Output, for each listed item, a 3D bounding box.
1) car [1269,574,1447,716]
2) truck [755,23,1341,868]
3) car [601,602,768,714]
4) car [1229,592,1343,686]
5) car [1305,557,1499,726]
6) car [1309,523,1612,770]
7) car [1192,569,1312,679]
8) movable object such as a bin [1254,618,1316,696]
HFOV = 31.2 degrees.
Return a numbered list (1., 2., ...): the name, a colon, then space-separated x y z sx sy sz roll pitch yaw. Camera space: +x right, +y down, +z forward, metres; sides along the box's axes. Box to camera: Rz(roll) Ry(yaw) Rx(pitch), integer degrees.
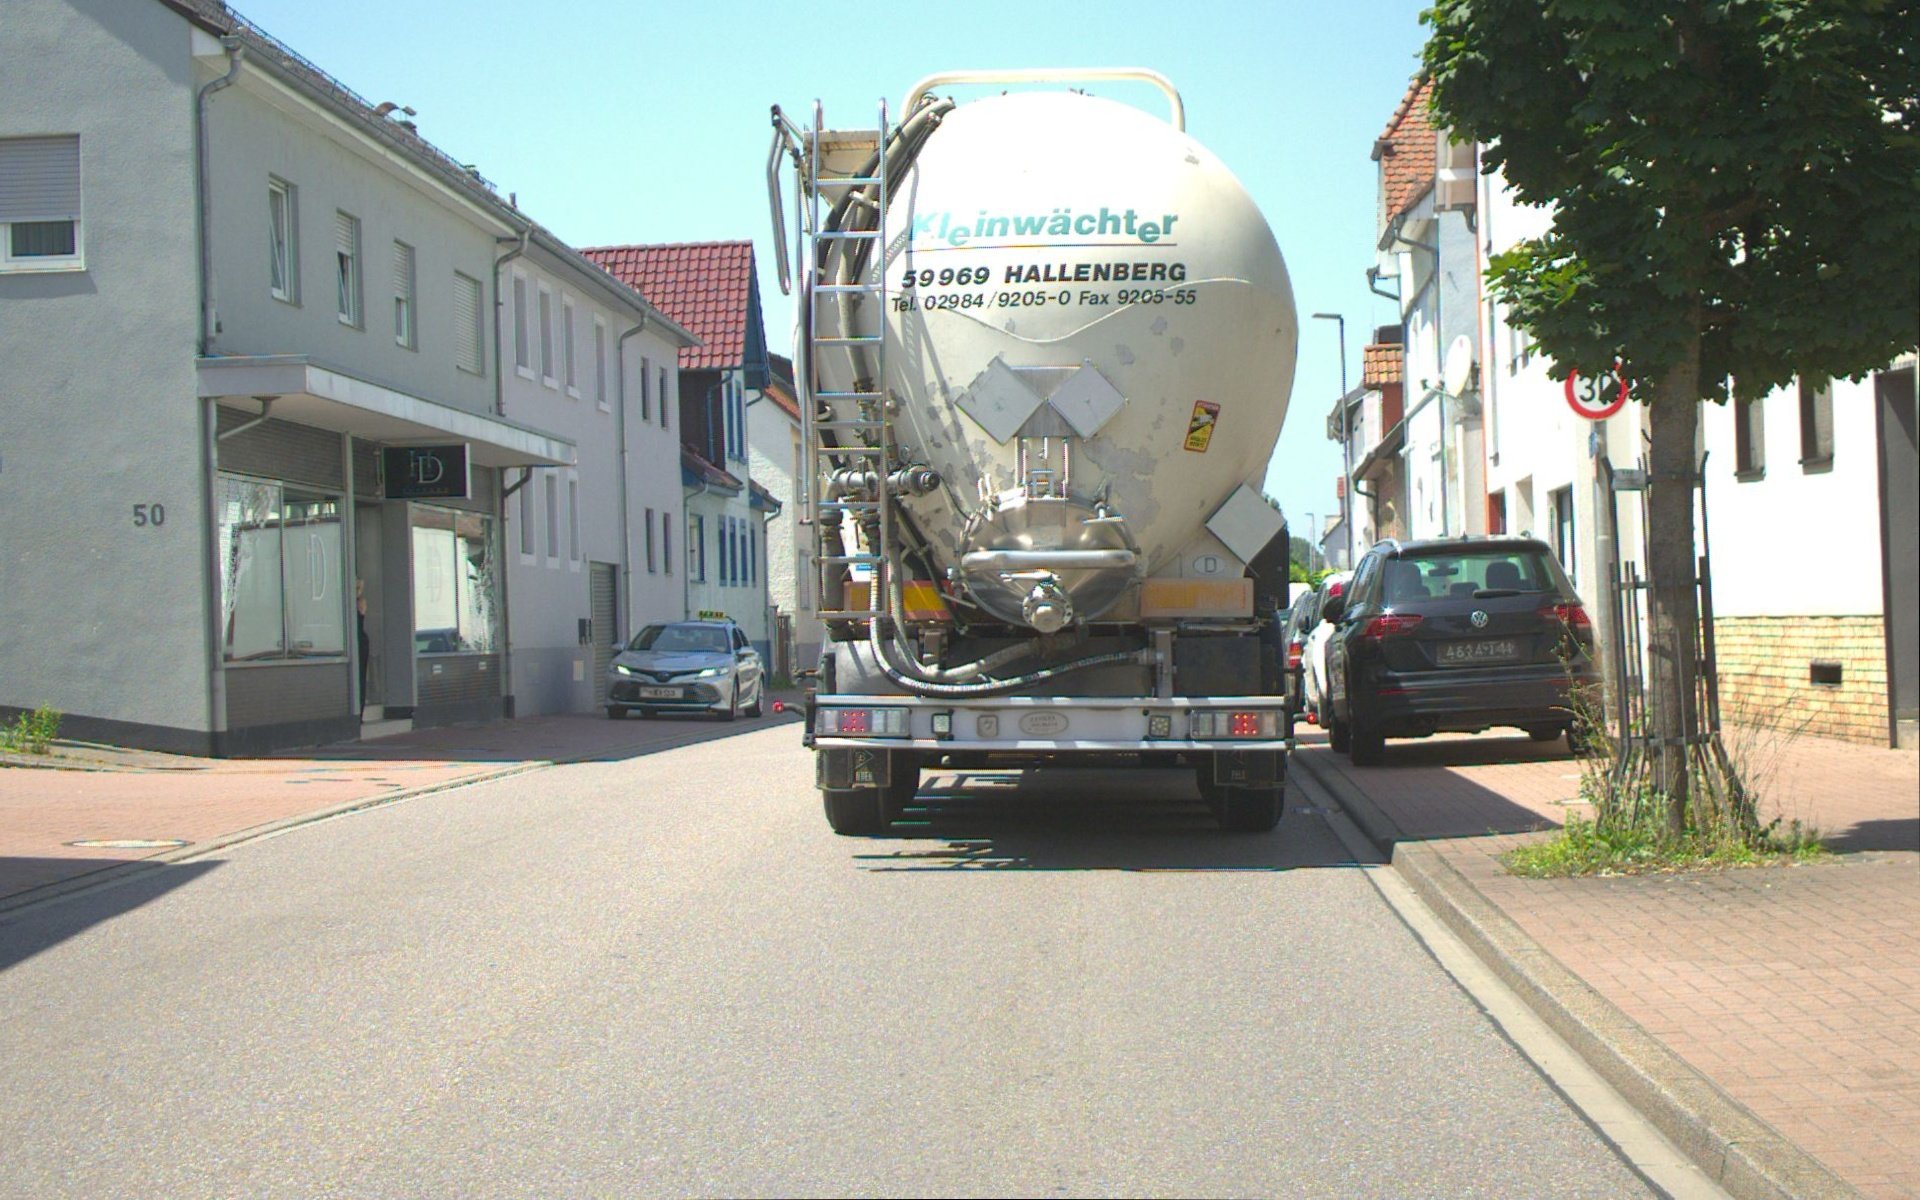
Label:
1. car: 4.598 0.520 40.287 1.700 1.442 4.835 -4 -1 3
2. truck: 0.593 -0.714 20.185 2.733 3.947 8.141 0 0 3
3. car: -3.987 0.831 50.469 1.808 1.552 4.564 1 -1 4
4. car: 5.465 0.639 58.111 1.770 1.461 4.576 -2 0 4
5. car: 4.430 0.416 34.872 1.607 1.517 3.544 -4 -1 3
6. car: 3.705 0.312 26.139 1.802 1.608 4.548 -4 0 3
7. car: 5.564 0.456 66.065 1.946 1.964 4.784 -2 0 2
8. movable object such as a bin: 4.542 0.793 47.991 0.656 1.031 0.683 -4 -1 19
